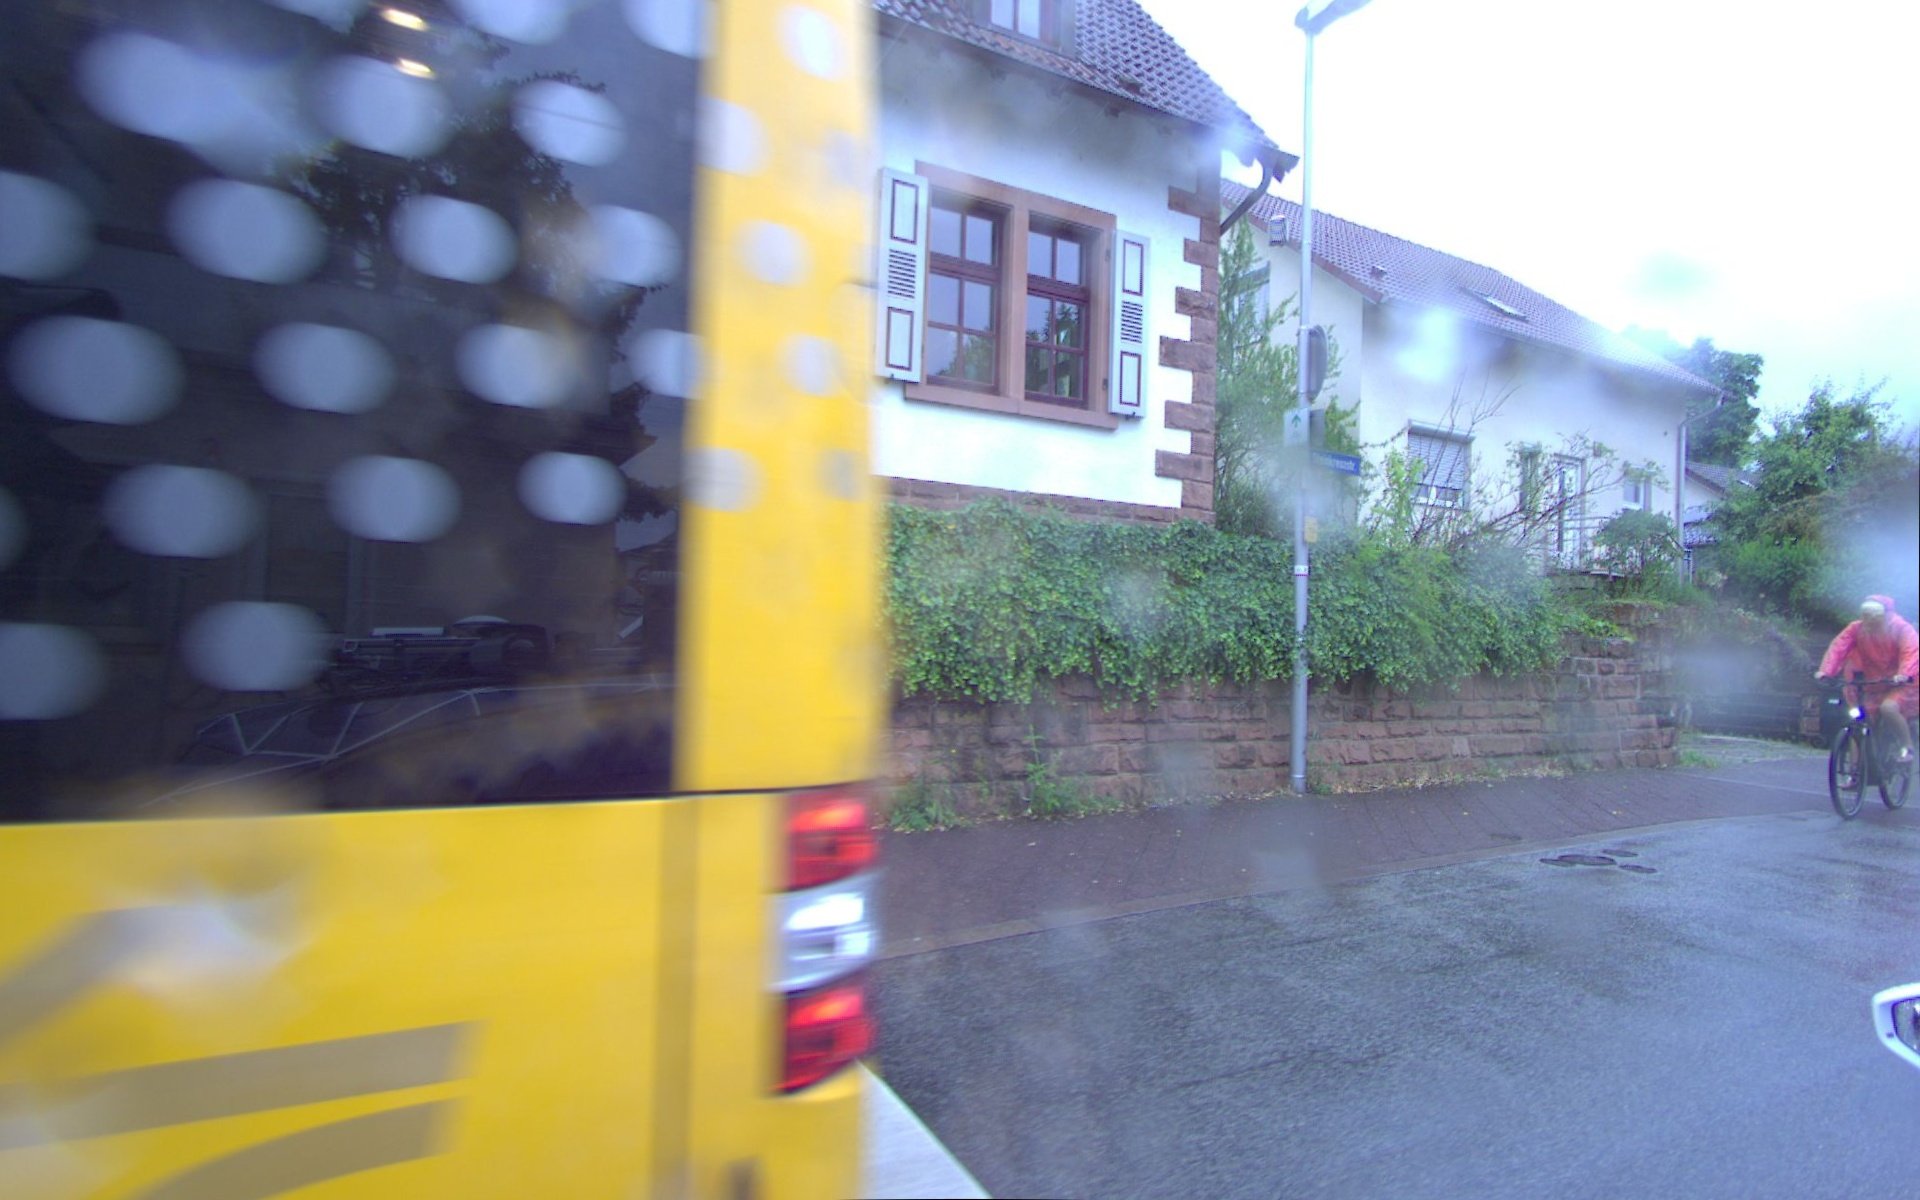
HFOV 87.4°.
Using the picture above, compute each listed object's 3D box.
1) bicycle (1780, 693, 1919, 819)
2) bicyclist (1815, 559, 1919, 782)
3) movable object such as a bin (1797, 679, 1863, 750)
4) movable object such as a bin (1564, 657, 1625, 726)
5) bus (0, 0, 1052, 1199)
[{"bbox_3d":[7.835,1.279,8.547,1.911,0.882,0.658,2,0,-29],"label":"bicycle"},{"bbox_3d":[7.844,0.568,8.528,0.695,1.793,0.654,1,0,-29],"label":"bicyclist"},{"bbox_3d":[12.381,1.627,14.293,0.538,0.942,0.535,4,-1,-31],"label":"movable object such as a bin"},{"bbox_3d":[10.631,1.521,16.838,0.647,1.077,0.619,1,1,-28],"label":"movable object such as a bin"},{"bbox_3d":[-5.797,-0.449,0.205,11.781,2.978,2.798,4,-1,-25],"label":"bus"}]
